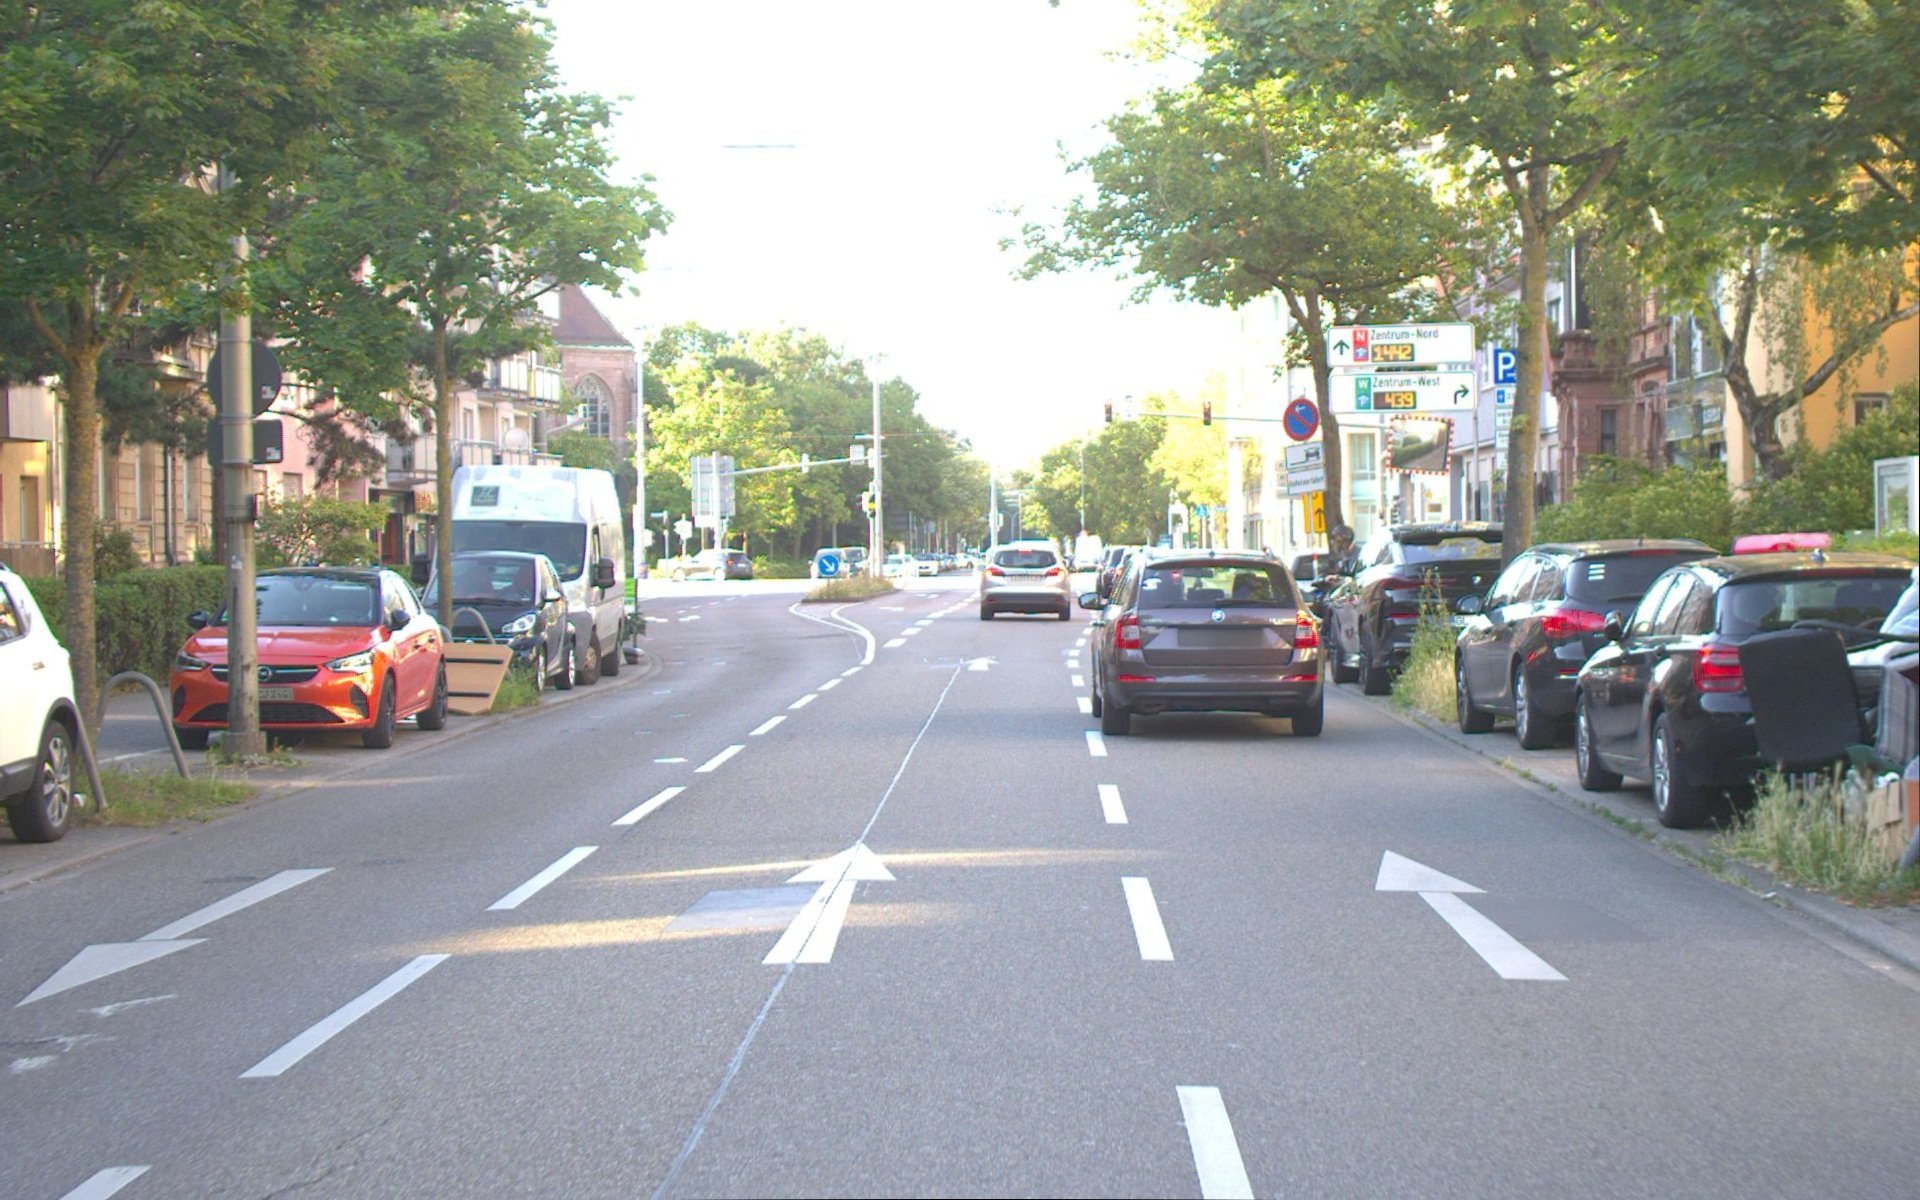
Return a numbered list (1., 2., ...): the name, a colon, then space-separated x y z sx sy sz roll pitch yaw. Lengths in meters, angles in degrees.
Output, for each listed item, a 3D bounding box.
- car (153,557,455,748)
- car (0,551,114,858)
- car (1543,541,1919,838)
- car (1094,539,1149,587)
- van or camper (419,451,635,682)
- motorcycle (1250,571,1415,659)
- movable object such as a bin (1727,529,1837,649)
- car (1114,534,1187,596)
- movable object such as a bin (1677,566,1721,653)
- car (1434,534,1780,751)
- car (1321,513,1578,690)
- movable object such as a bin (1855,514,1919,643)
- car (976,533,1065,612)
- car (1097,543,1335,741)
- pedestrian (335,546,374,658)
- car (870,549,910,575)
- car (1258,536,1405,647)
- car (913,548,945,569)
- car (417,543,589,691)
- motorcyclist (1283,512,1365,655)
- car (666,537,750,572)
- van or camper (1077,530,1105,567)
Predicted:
1. car: -5.418 0.385 28.852 1.717 1.447 3.923 0 1 1
2. car: -5.854 0.544 17.884 1.776 1.583 4.186 0 1 1
3. car: 4.587 0.416 19.678 1.770 1.444 4.484 -2 1 1
4. car: 4.951 -1.150 105.808 1.585 1.442 3.647 1 1 1
5. van or camper: -5.328 -0.442 43.076 2.035 2.654 6.016 1 1 -1
6. motorcycle: 4.725 0.186 43.652 1.925 1.067 0.820 -1 1 -10
7. movable object such as a bin: 10.069 -0.139 42.094 1.253 1.436 0.994 -1 1 16
8. car: 4.674 -0.892 84.794 1.650 1.479 4.239 0 1 1
9. movable object such as a bin: 9.042 0.114 42.032 0.494 1.055 0.547 -1 1 14
10. car: 4.829 0.256 26.252 1.716 1.467 4.432 -2 1 -1
11. car: 4.901 -0.031 35.071 1.948 1.649 4.796 -1 1 0
12. movable object such as a bin: 11.706 -0.280 42.028 1.154 1.550 0.995 -1 1 -8
13. car: 1.227 -0.575 68.449 1.707 1.504 4.309 0 1 1
14. car: 1.989 0.277 27.711 1.707 1.452 4.158 0 1 2
15. pedestrian: -9.010 0.017 51.145 0.480 1.646 0.725 -1 1 -5
16. car: -3.521 -1.912 172.573 1.780 1.232 4.000 -1 1 2
17. car: 5.496 -0.164 51.315 1.856 1.507 4.834 -2 1 3
18. car: -1.899 -2.599 213.085 1.780 1.232 4.000 -1 1 2
19. car: -5.054 0.160 38.242 1.404 1.543 2.761 1 1 3
20. motorcyclist: 4.595 -0.208 43.495 0.736 1.772 1.088 -1 0 -10
21. car: -11.038 -2.003 150.745 3.338 1.489 1.624 0 1 11
22. van or camper: 9.605 -3.755 251.612 1.994 2.631 5.350 -1 1 3
